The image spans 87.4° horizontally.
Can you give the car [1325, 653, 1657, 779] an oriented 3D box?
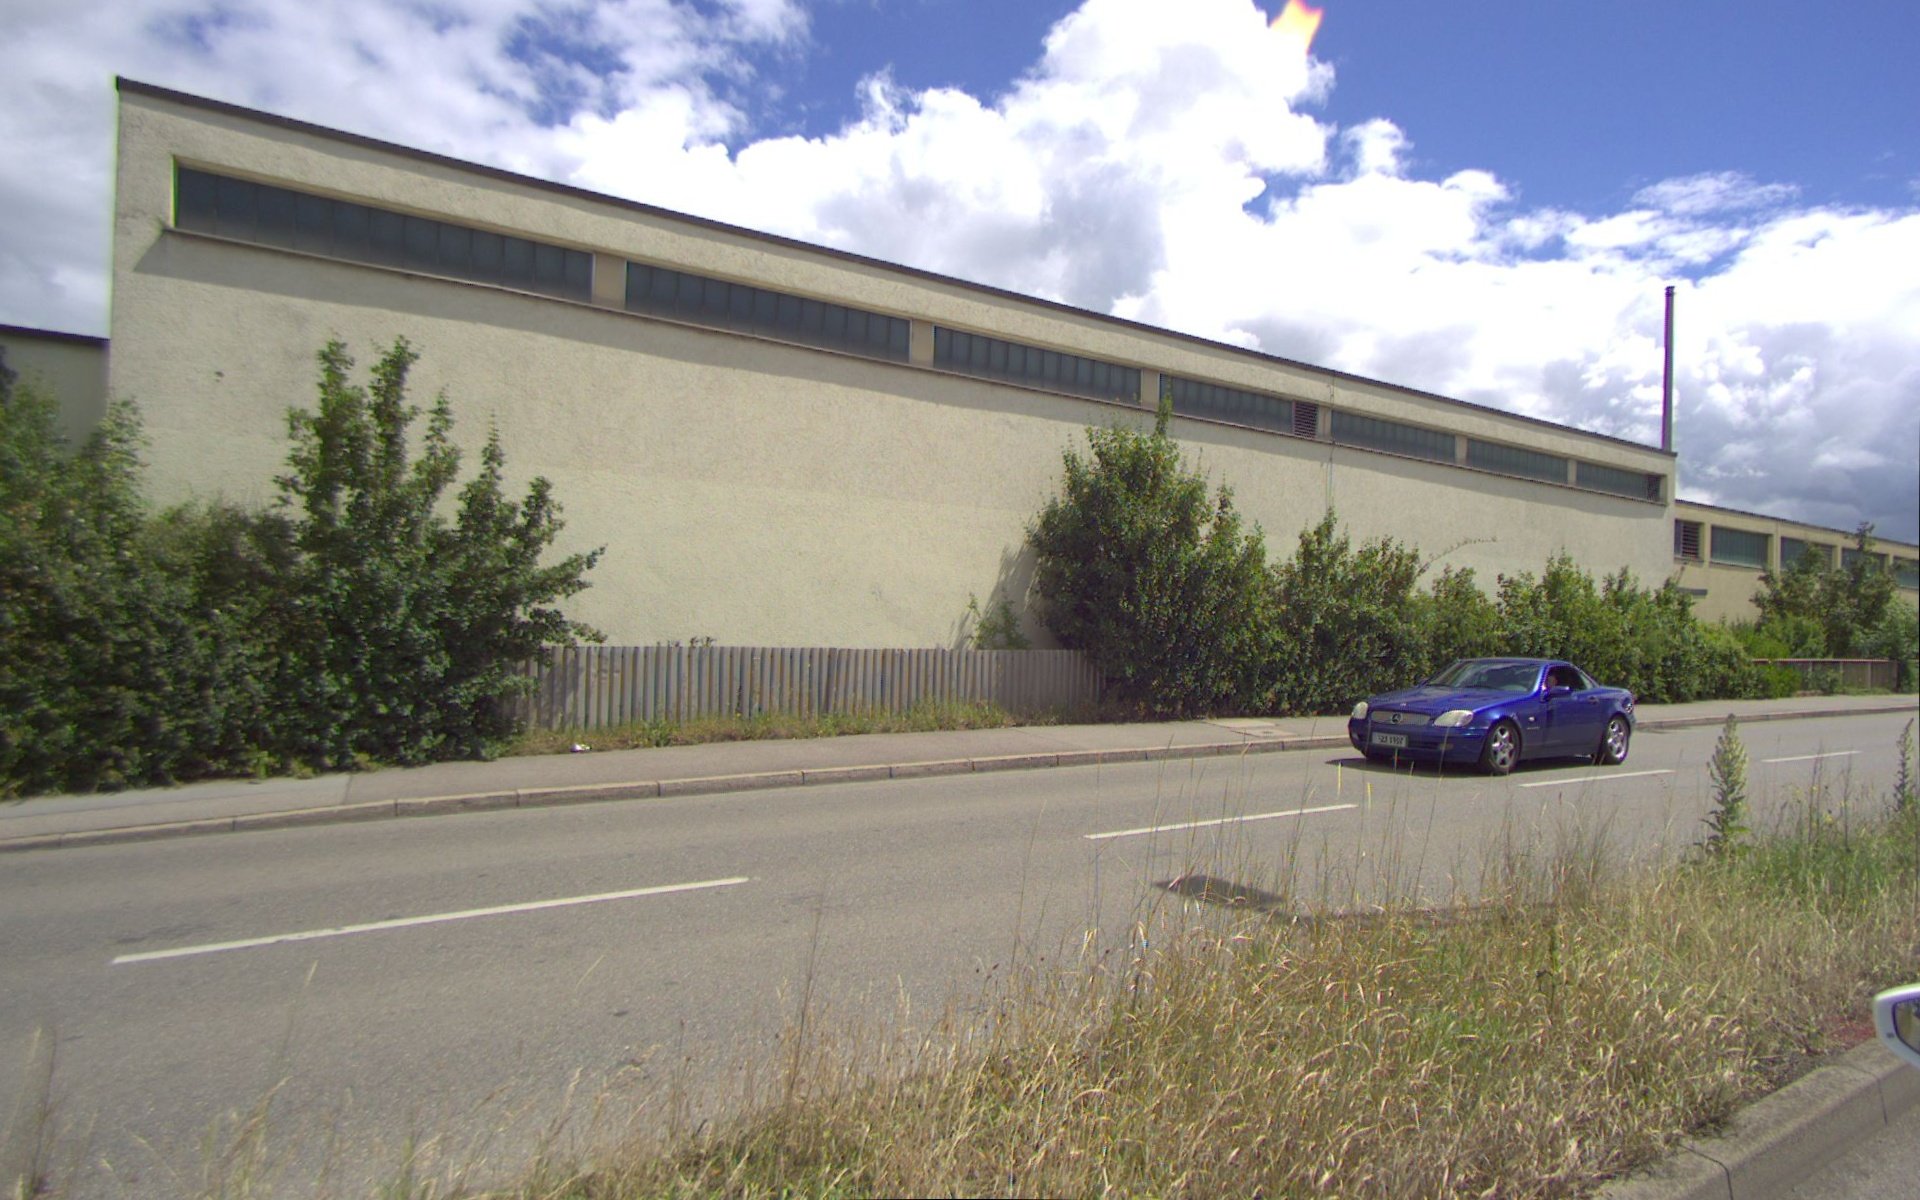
[{"bbox_3d":[6.457,1.287,12.148,3.954,1.292,1.746,2,-3,-31],"label":"car"}]
